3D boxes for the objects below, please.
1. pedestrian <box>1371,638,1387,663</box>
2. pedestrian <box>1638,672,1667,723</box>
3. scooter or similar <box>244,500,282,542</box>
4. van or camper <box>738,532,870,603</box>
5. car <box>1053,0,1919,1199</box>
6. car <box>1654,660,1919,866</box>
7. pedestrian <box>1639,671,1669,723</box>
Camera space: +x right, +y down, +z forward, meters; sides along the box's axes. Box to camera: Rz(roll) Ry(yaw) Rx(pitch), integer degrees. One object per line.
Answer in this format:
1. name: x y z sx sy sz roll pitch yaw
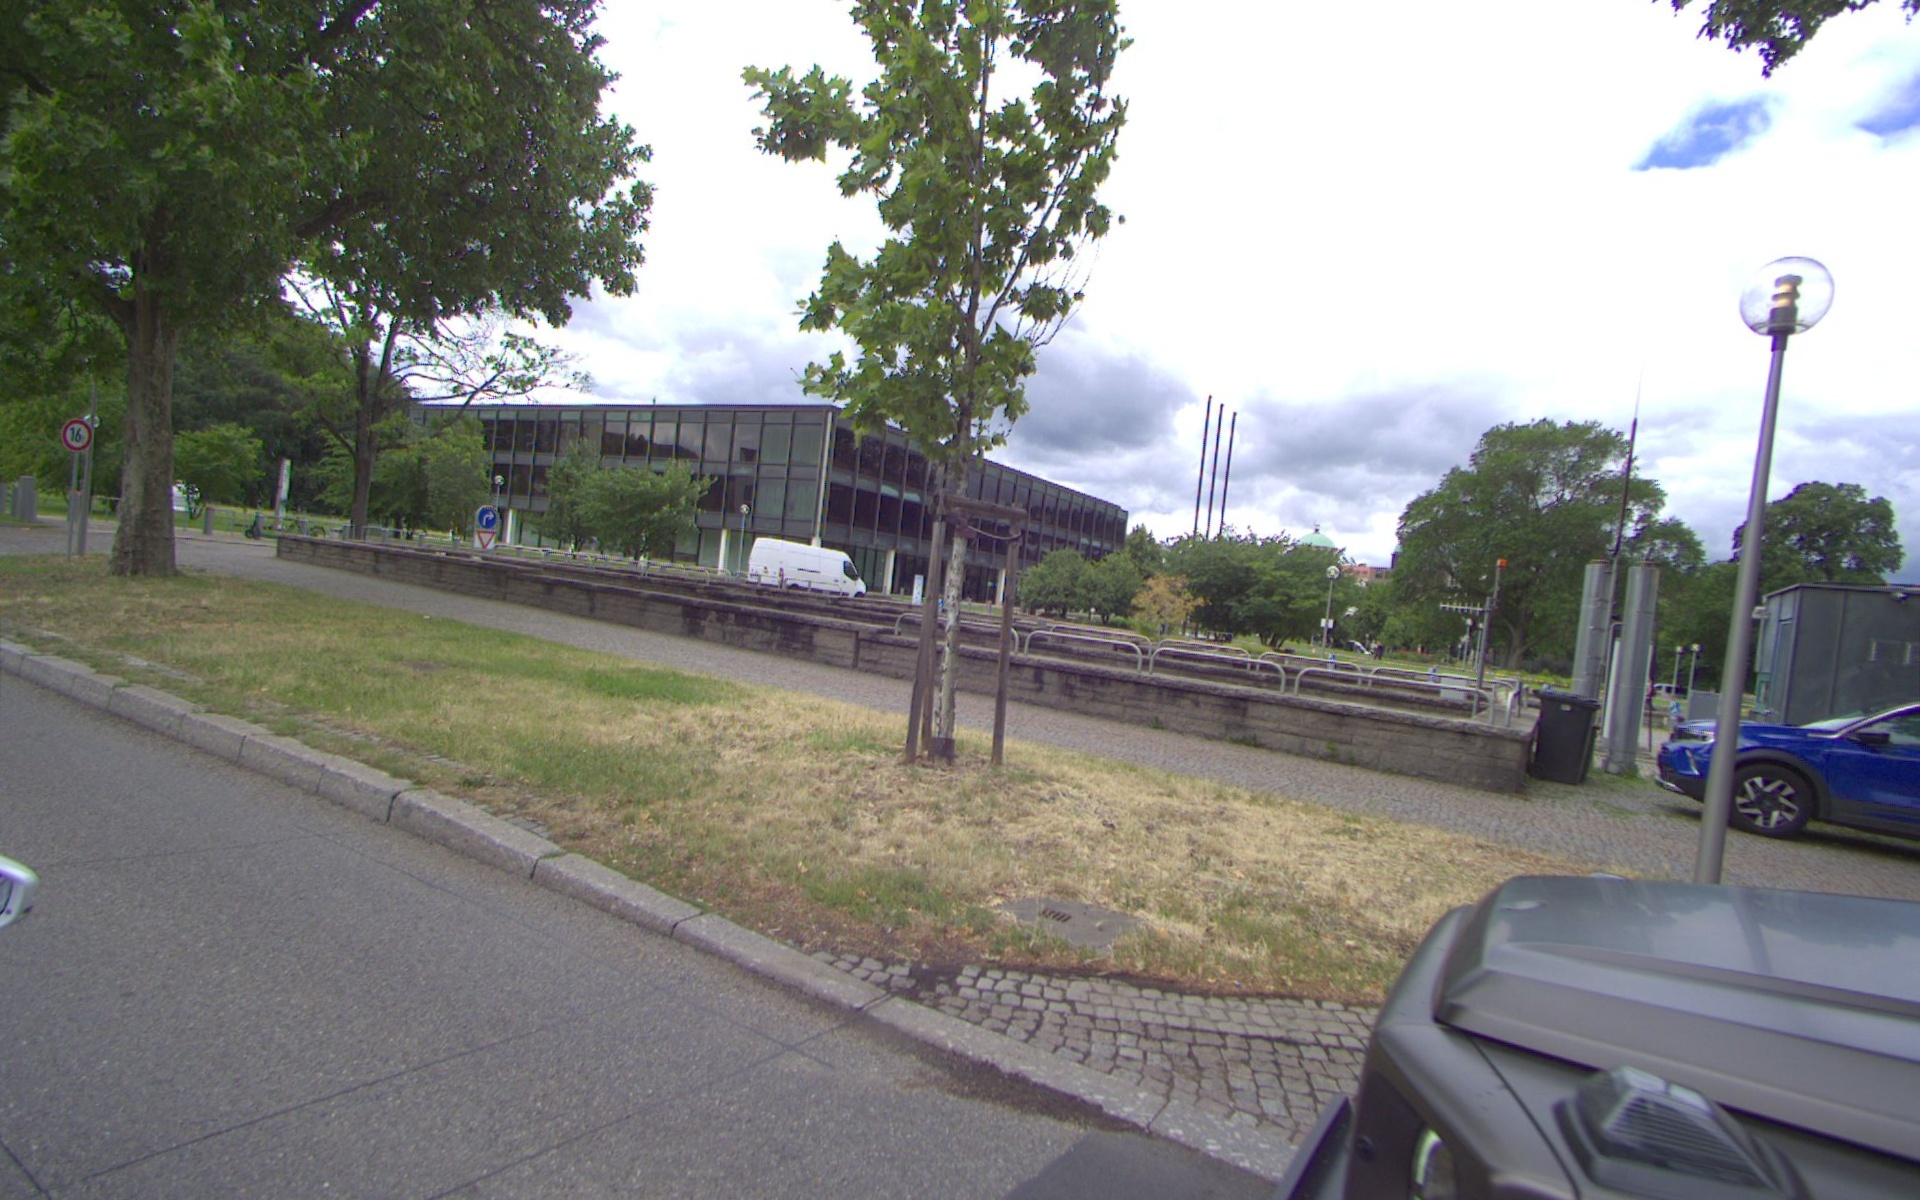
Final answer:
1. pedestrian: 32.569 3.922 78.206 0.802 1.825 0.857 7 1 31
2. pedestrian: 28.995 4.085 42.132 0.802 2.037 0.857 6 -2 31
3. scooter or similar: -23.646 -2.679 34.130 0.716 1.261 0.717 6 -1 31
4. van or camper: -6.617 -1.335 43.489 2.283 2.347 5.704 5 -2 33
5. car: 2.543 0.777 0.494 4.629 1.915 1.982 6 -2 31
6. car: 9.184 1.663 9.498 4.150 1.537 1.764 9 2 35
7. pedestrian: 28.444 3.978 41.250 0.802 2.037 0.766 6 -2 31
